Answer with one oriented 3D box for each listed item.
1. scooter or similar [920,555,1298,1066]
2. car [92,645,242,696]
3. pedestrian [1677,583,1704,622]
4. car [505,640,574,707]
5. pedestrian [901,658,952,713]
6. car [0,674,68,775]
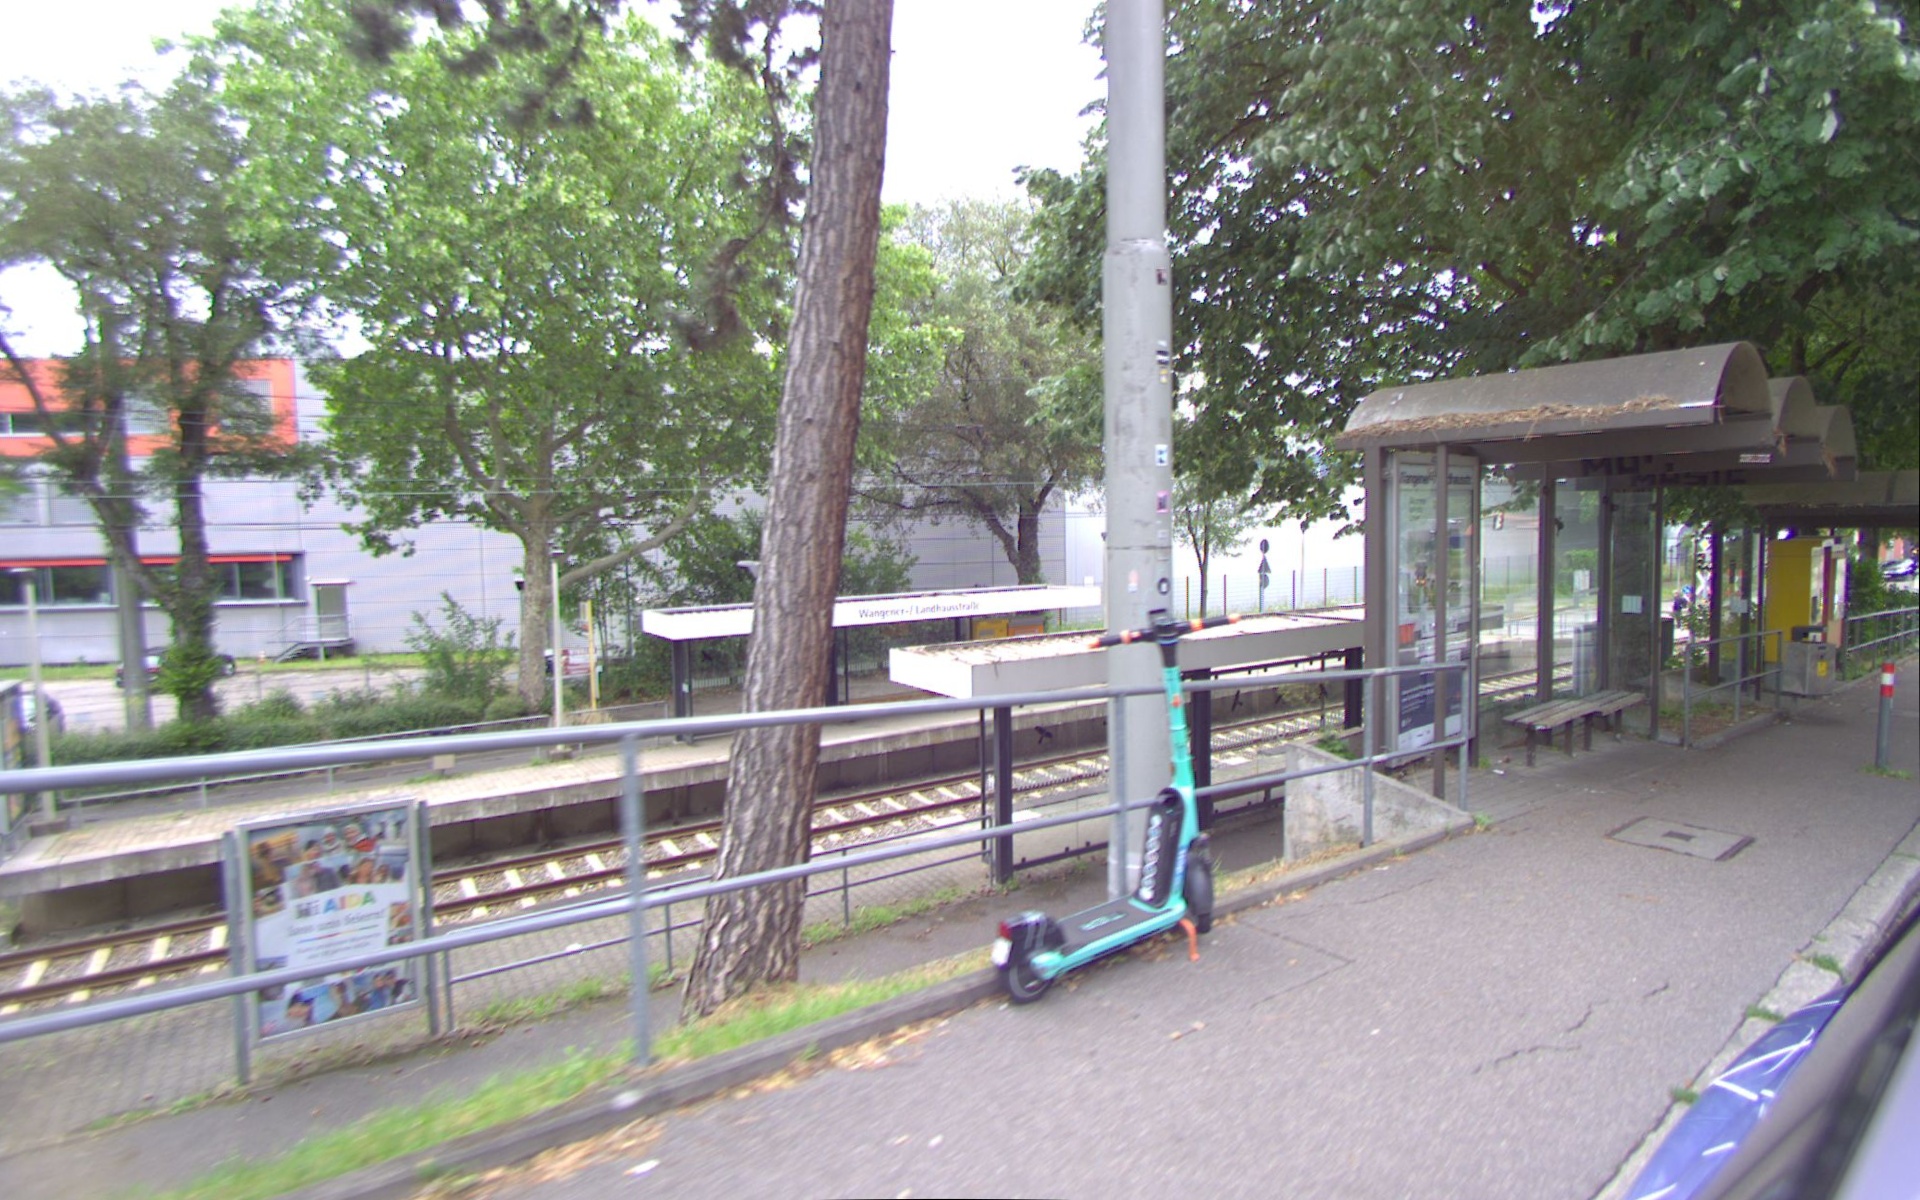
[{"bbox_3d":[0.554,0.555,3.397,1.430,1.401,0.430,-1,2,-41],"label":"scooter or similar"},{"bbox_3d":[-28.785,2.502,36.963,1.962,1.393,4.535,0,2,-1],"label":"car"},{"bbox_3d":[32.098,0.107,44.471,0.670,1.696,0.755,-1,2,-29],"label":"pedestrian"},{"bbox_3d":[-13.772,2.323,33.169,1.958,1.723,4.009,-1,2,-22],"label":"car"},{"bbox_3d":[-0.786,1.999,23.850,0.935,1.181,0.780,-1,2,-34],"label":"pedestrian"},{"bbox_3d":[-24.596,3.174,26.032,1.962,2.038,4.001,-1,2,-35],"label":"car"}]
